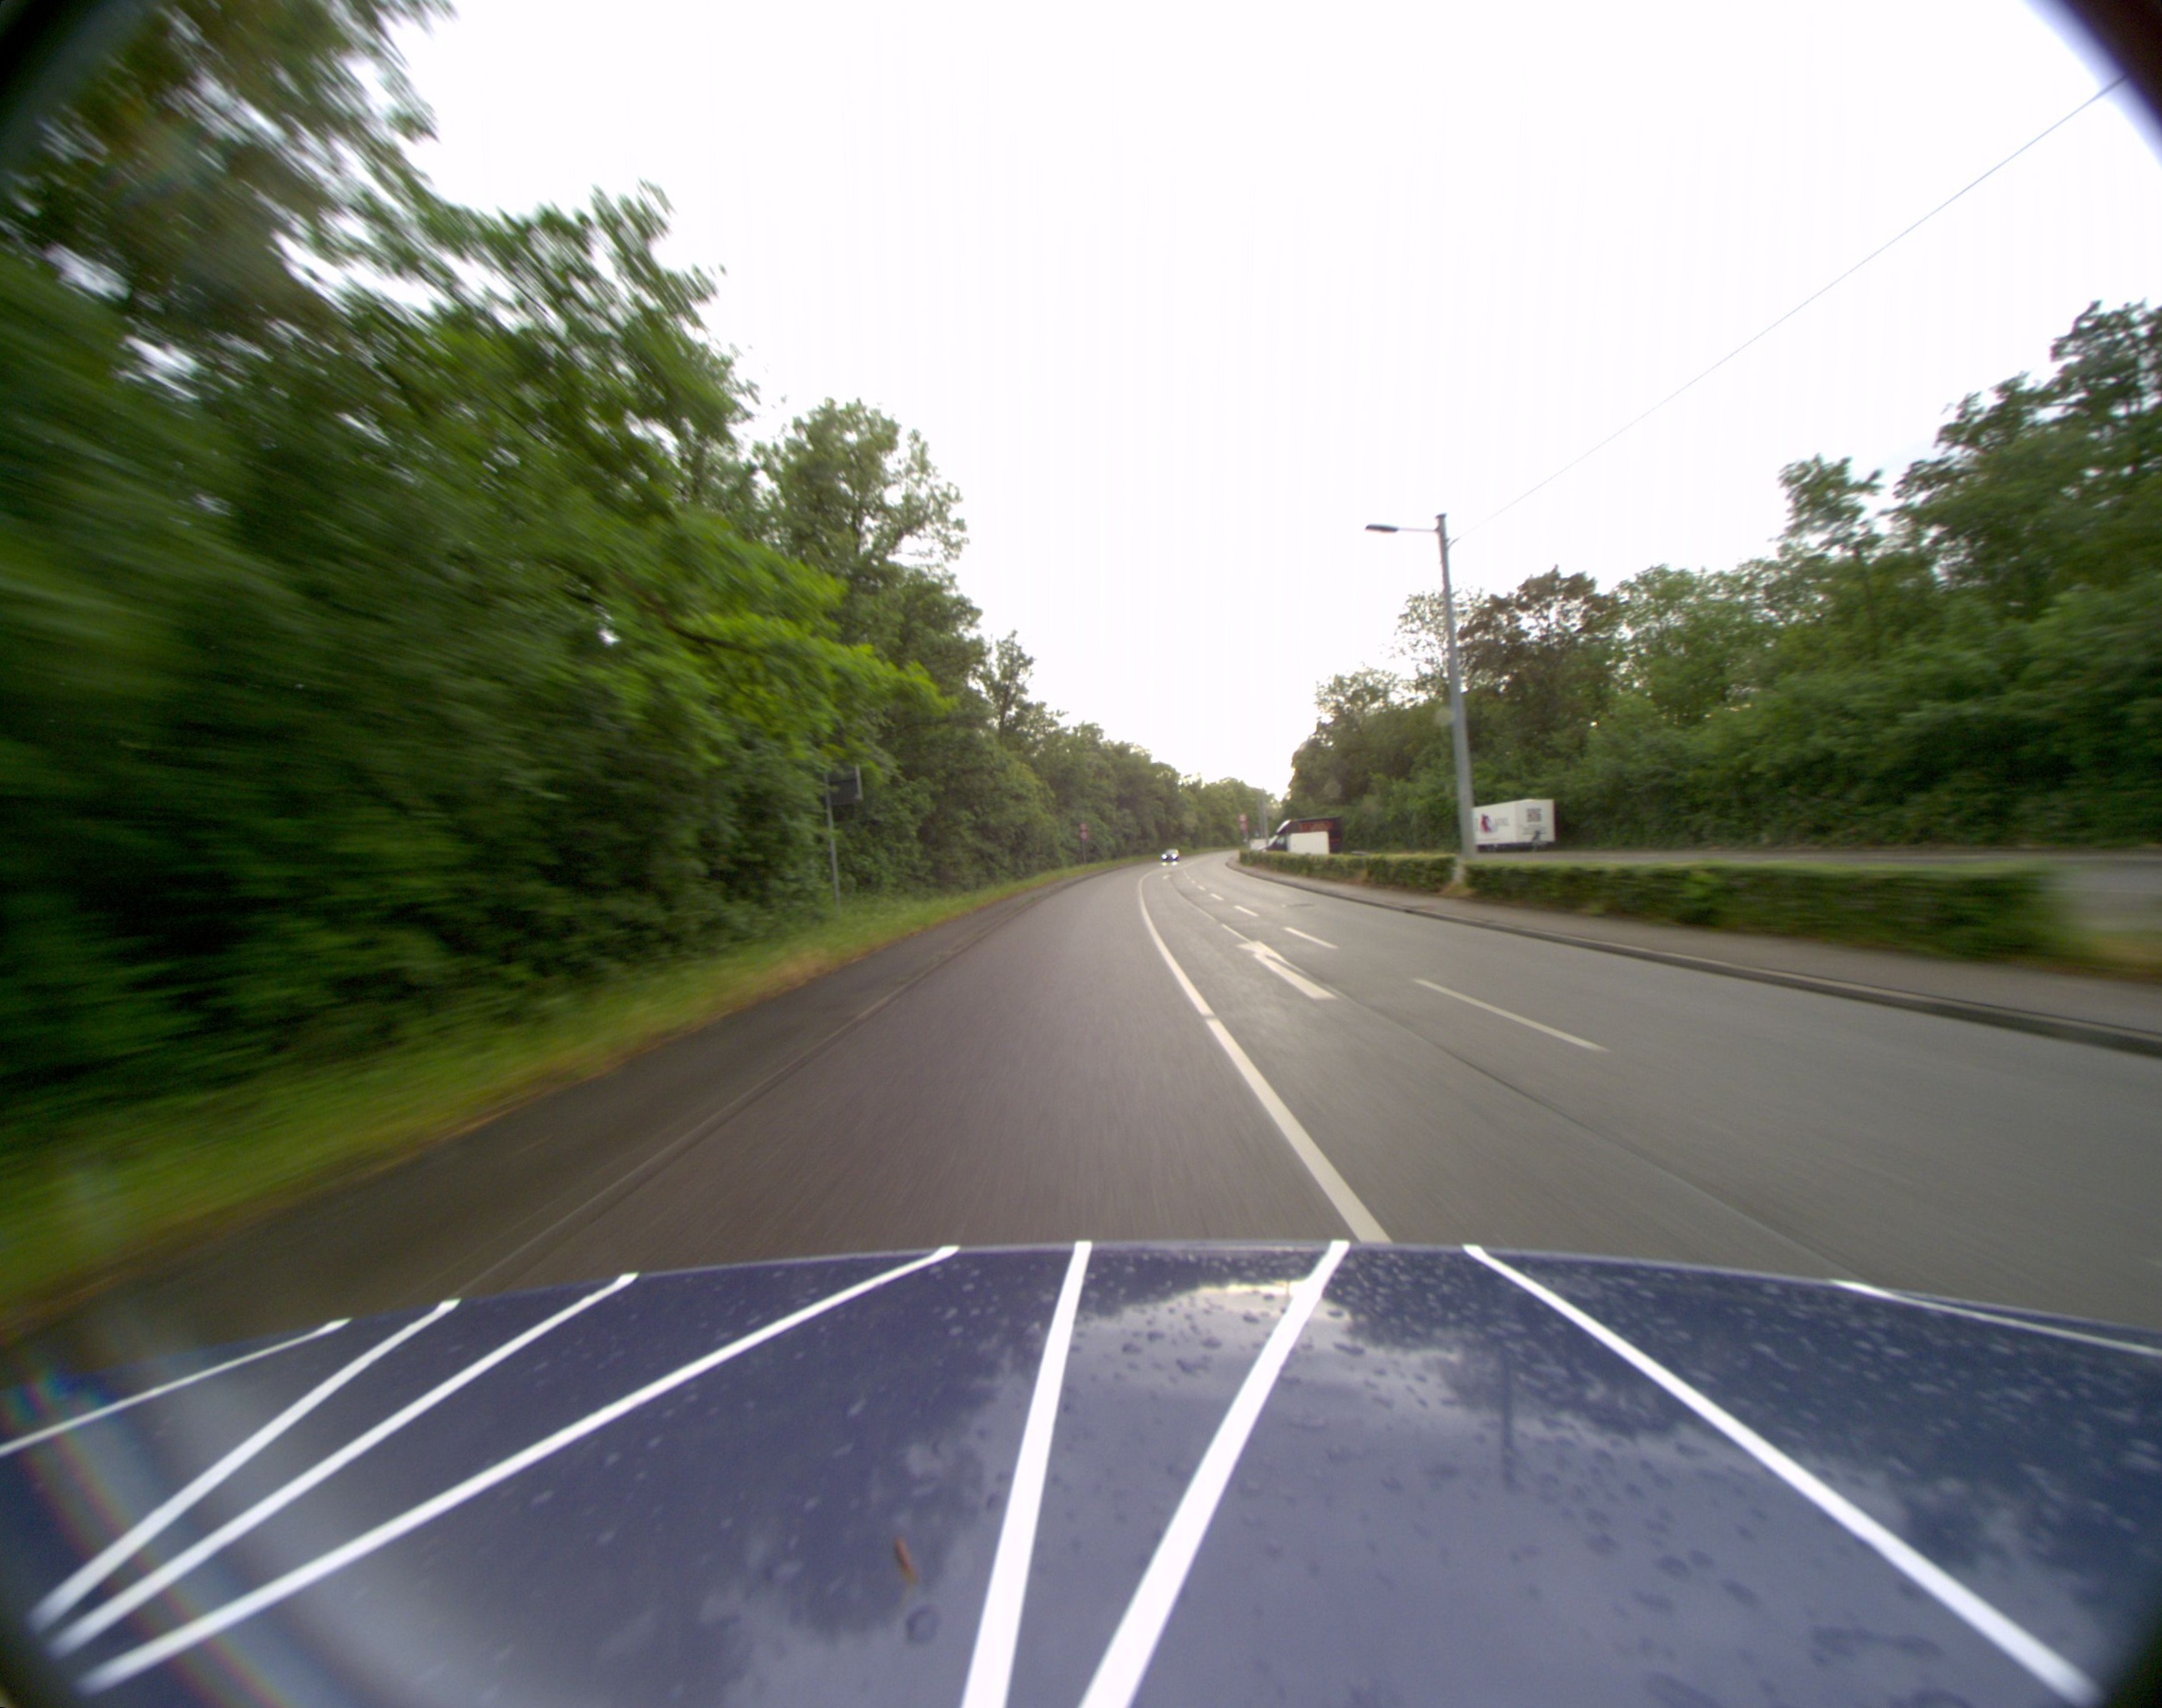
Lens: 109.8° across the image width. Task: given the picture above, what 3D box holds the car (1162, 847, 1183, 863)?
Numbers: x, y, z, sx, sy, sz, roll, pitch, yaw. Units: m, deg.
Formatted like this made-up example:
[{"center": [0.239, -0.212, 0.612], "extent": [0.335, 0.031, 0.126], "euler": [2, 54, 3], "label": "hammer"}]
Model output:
[{"center": [10.799, 0.107, 89.736], "extent": [1.997, 1.674, 4.003], "euler": [-2, 1, 13], "label": "car"}]

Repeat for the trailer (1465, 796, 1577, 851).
[{"center": [25.802, -1.682, 45.073], "extent": [2.481, 2.857, 7.979], "euler": [-3, 1, 5], "label": "trailer"}]

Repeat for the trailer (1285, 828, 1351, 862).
[{"center": [16.112, -0.609, 51.828], "extent": [3.994, 2.041, 1.874], "euler": [-3, 1, 8], "label": "trailer"}]

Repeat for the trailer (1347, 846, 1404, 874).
[{"center": [12.198, 0.236, 31.502], "extent": [1.805, 1.028, 1.334], "euler": [-3, 1, 2], "label": "trailer"}]

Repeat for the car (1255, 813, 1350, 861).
[{"center": [16.594, -1.282, 57.239], "extent": [6.285, 3.096, 2.752], "euler": [-3, 2, 5], "label": "car"}]
